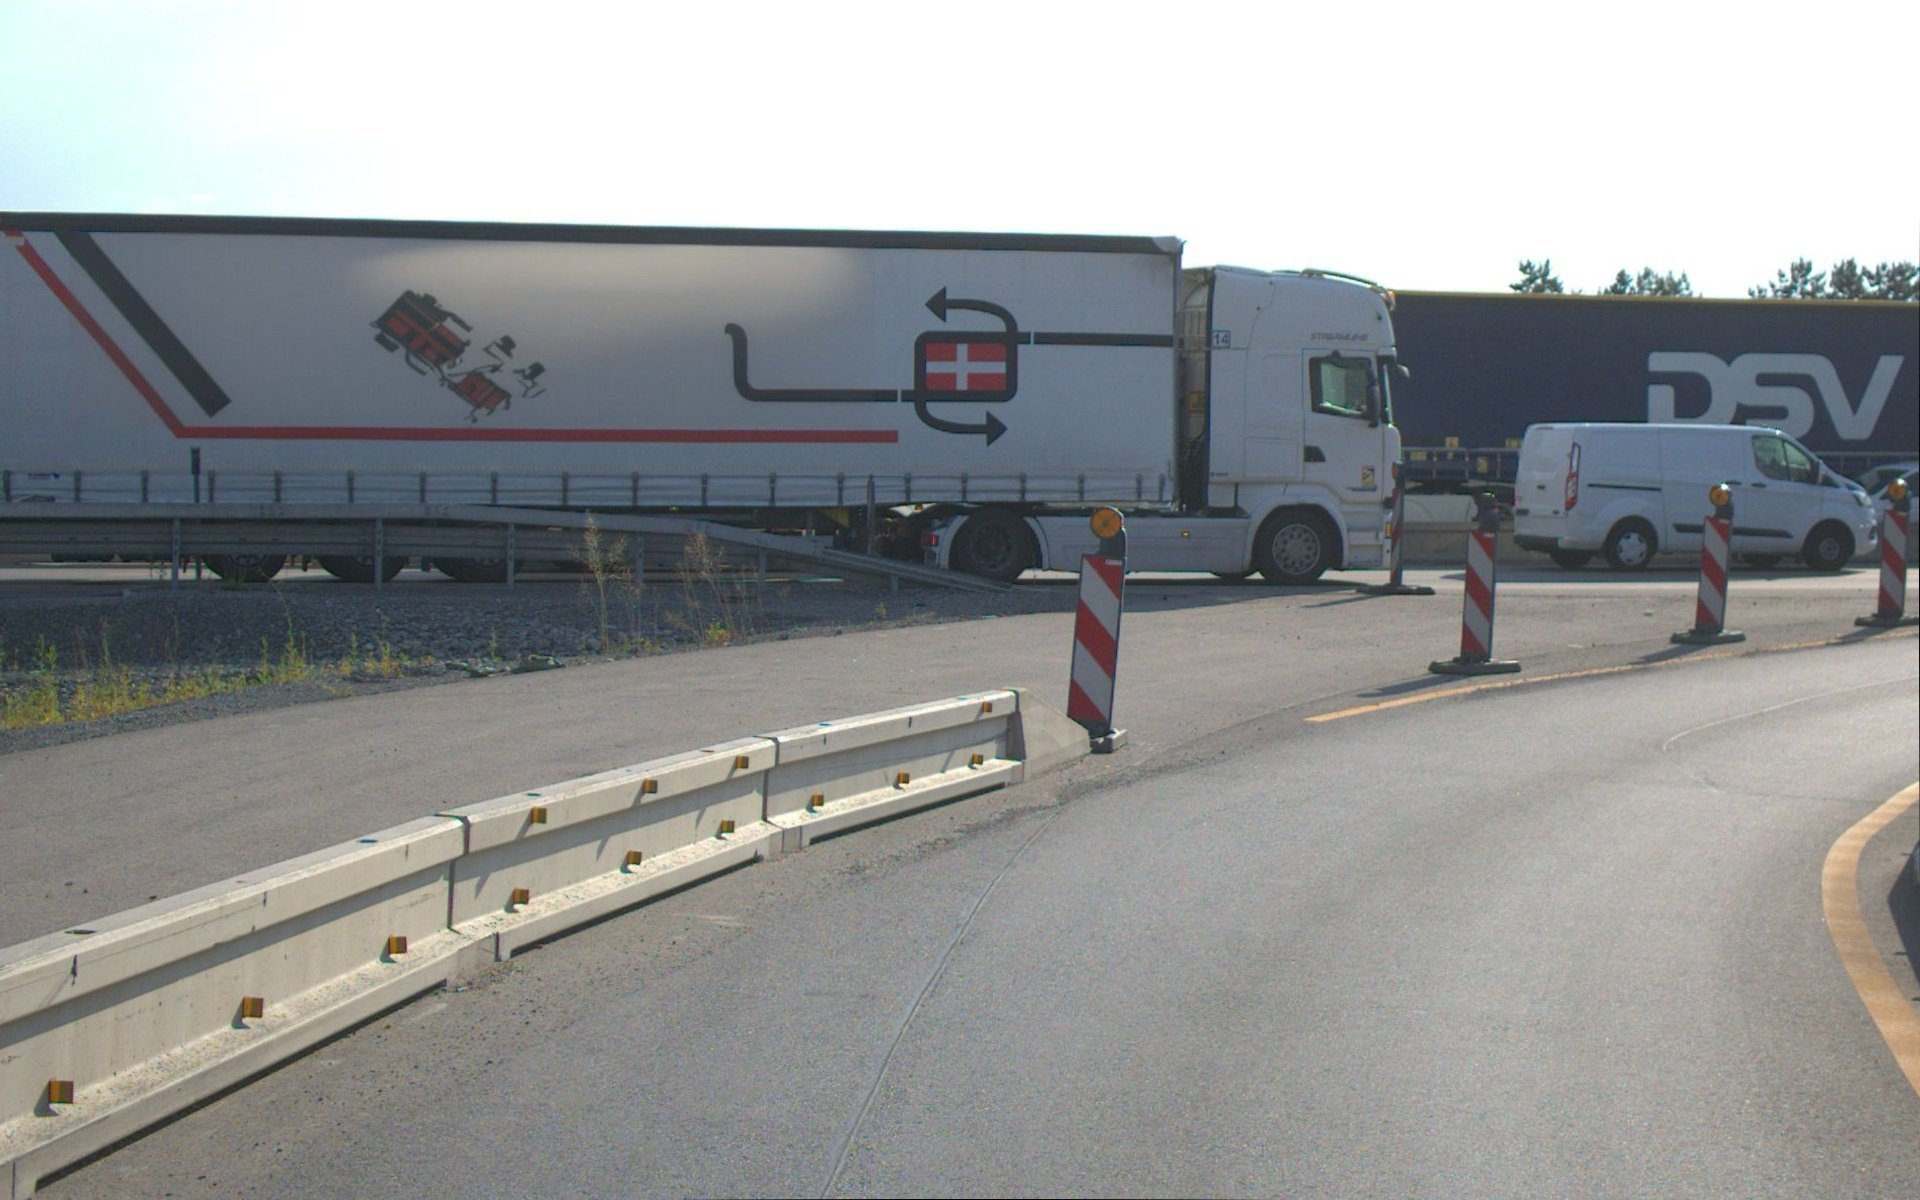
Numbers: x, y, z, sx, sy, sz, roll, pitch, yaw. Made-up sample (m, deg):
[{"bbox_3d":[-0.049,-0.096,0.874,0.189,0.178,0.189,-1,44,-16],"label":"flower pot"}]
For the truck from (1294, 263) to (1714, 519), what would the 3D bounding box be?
[{"bbox_3d":[8.420,-3.172,53.481,5.667,3.714,3.007,1,1,-15],"label":"truck"}]

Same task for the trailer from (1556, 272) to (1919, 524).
[{"bbox_3d":[14.617,-3.113,55.053,9.535,3.739,3.017,1,1,-14],"label":"trailer"}]

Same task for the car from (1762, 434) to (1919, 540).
[{"bbox_3d":[14.361,-1.692,51.527,4.223,1.495,1.663,0,4,-14],"label":"car"}]

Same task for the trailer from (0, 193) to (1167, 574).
[{"bbox_3d":[-4.518,-2.361,39.234,13.582,3.865,2.489,1,2,-15],"label":"trailer"}]

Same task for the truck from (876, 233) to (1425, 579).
[{"bbox_3d":[2.241,-2.266,41.115,5.990,3.865,2.489,1,2,-15],"label":"truck"}]

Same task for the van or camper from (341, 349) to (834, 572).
[{"bbox_3d":[-4.686,-1.730,43.082,5.882,2.610,2.001,1,2,-14],"label":"van or camper"}]

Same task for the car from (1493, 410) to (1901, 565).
[{"bbox_3d":[9.972,-1.531,46.638,4.961,1.974,2.036,0,4,-14],"label":"car"}]
